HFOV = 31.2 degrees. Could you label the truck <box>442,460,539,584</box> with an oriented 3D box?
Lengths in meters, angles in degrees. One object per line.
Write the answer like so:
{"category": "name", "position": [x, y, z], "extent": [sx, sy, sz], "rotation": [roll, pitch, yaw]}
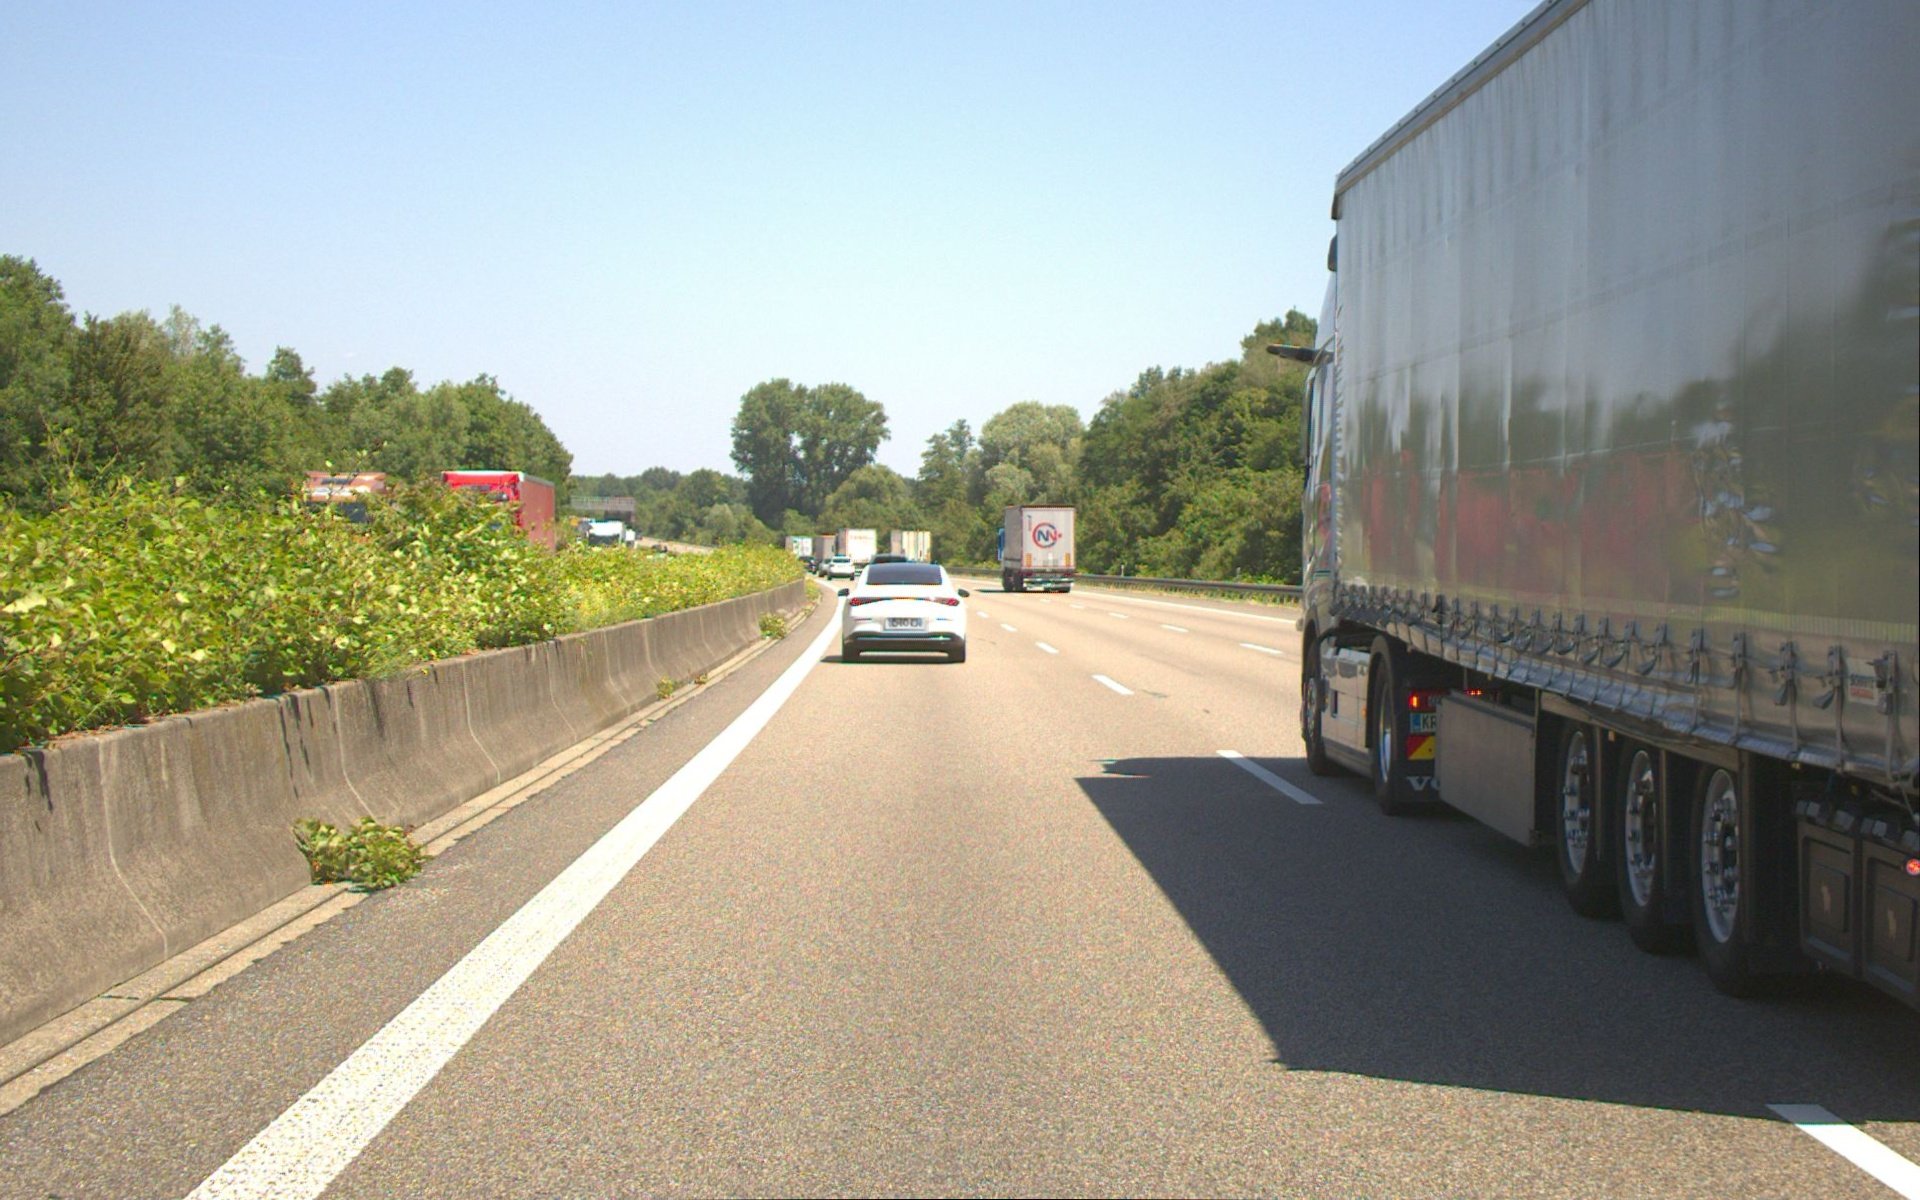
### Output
{"category": "truck", "position": [-14.833, -2.454, 108.945], "extent": [2.465, 3.775, 5.730], "rotation": [1, 1, -2]}

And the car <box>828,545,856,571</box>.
{"category": "car", "position": [-8.269, -2.928, 240.222], "extent": [1.723, 1.777, 4.001], "rotation": [1, 1, -5]}

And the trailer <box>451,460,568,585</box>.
{"category": "trailer", "position": [-15.060, -2.545, 115.977], "extent": [2.465, 3.922, 14.402], "rotation": [1, 1, -2]}

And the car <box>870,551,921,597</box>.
{"category": "car", "position": [-2.556, -1.038, 137.295], "extent": [1.993, 1.766, 4.000], "rotation": [1, 1, -1]}

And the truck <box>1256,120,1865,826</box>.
{"category": "truck", "position": [3.694, -0.762, 22.795], "extent": [2.722, 3.961, 6.502], "rotation": [1, 1, -1]}

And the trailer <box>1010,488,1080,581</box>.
{"category": "trailer", "position": [4.032, -3.115, 166.200], "extent": [2.624, 4.246, 14.062], "rotation": [1, 1, -1]}

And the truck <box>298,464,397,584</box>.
{"category": "truck", "position": [-18.832, -2.314, 105.925], "extent": [2.357, 3.589, 4.164], "rotation": [1, 1, -1]}

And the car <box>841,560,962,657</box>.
{"category": "car", "position": [-0.845, 0.100, 51.165], "extent": [1.715, 1.365, 3.375], "rotation": [1, 1, 0]}

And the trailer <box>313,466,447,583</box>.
{"category": "trailer", "position": [-19.046, -2.431, 113.631], "extent": [2.371, 3.583, 14.222], "rotation": [1, 1, -2]}

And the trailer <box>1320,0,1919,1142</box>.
{"category": "trailer", "position": [3.795, -0.665, 15.487], "extent": [2.740, 3.961, 13.655], "rotation": [1, 1, 0]}
